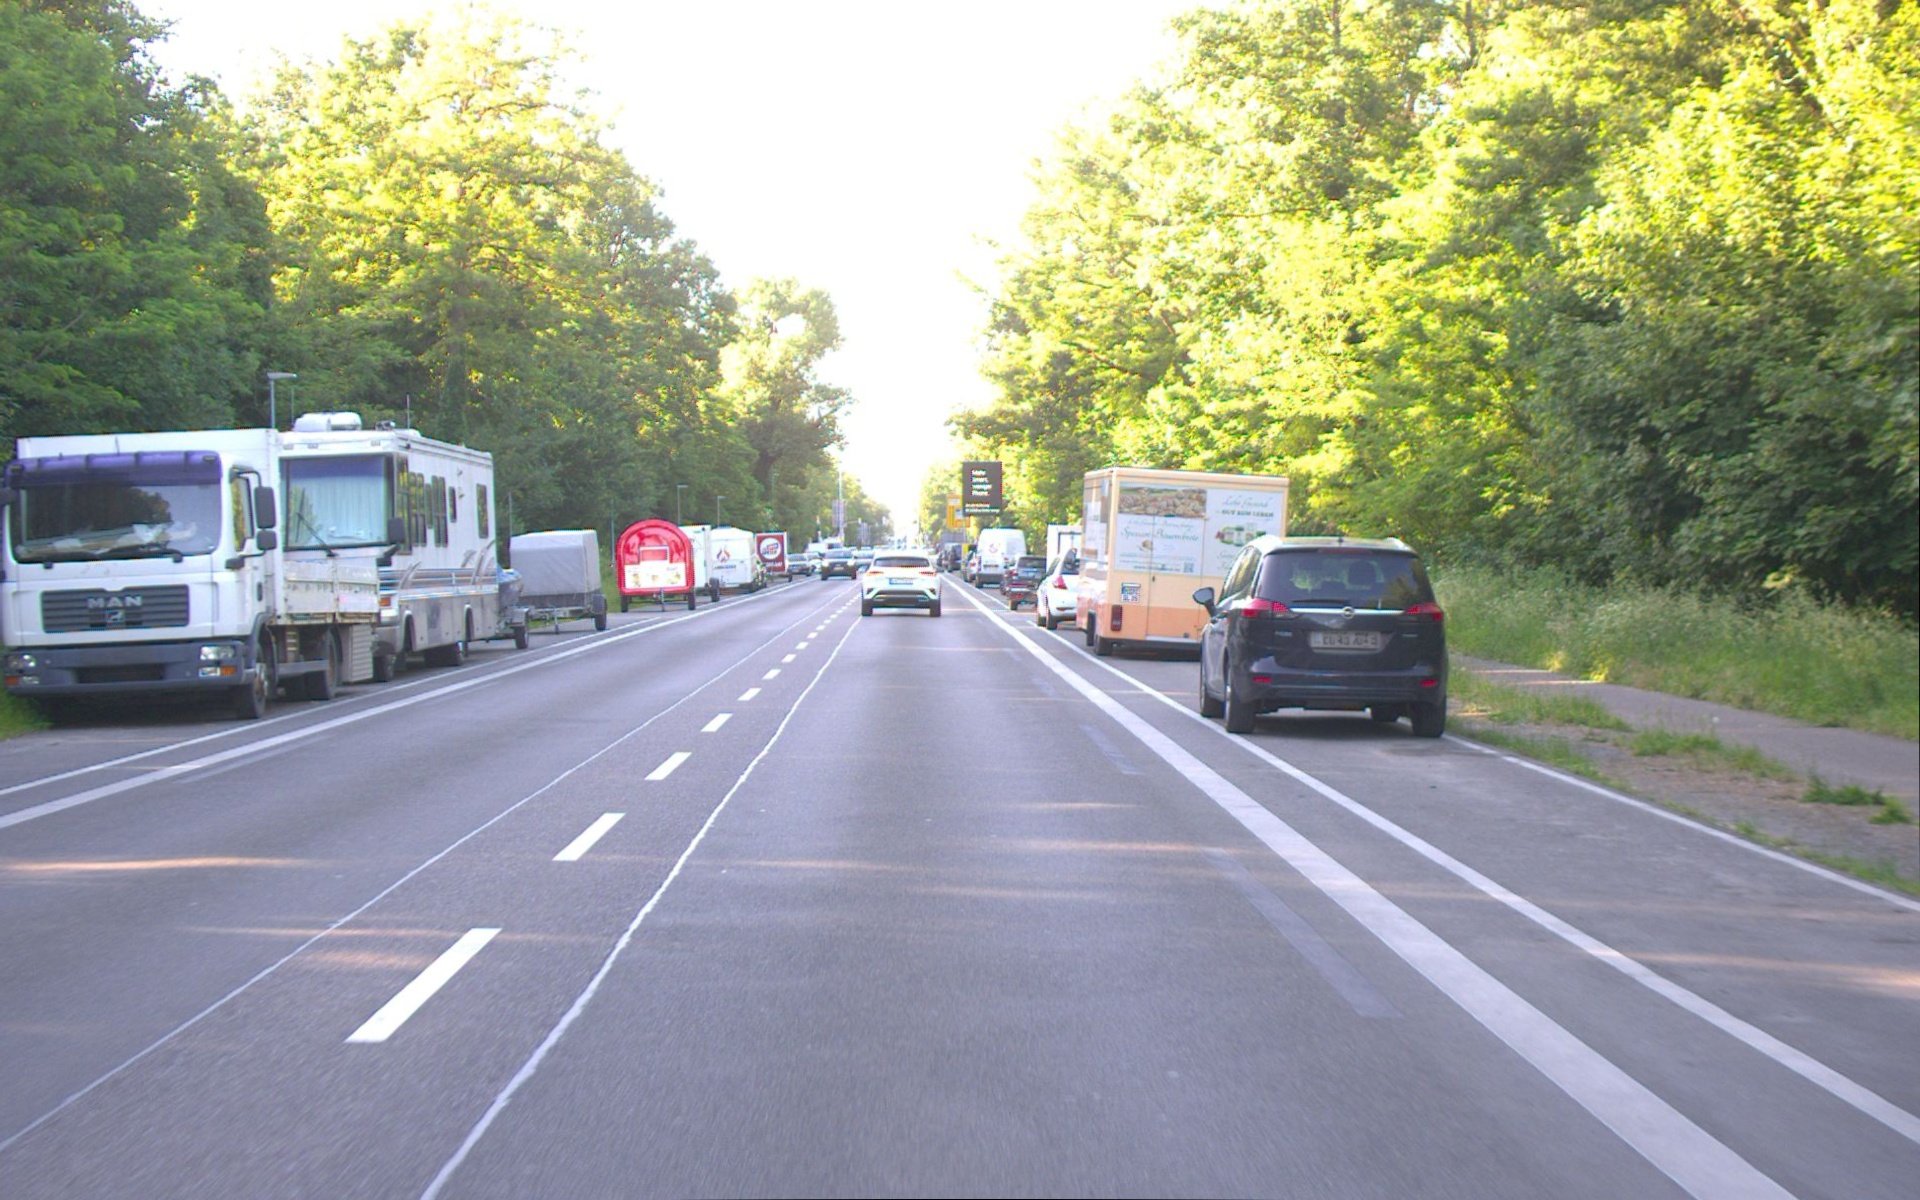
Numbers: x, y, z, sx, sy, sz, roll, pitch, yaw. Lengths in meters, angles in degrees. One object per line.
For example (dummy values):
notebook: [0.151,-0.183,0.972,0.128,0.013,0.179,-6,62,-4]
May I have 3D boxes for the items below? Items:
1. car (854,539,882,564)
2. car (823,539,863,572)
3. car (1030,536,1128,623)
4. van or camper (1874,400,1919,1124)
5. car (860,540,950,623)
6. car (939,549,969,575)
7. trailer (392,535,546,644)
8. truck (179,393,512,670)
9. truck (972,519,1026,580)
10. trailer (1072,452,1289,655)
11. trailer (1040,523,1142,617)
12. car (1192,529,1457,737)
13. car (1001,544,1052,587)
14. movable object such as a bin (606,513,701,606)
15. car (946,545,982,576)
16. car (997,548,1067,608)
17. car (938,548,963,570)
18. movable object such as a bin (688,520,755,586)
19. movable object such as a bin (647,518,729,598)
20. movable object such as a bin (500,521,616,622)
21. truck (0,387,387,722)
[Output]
car: [-6.290,-3.301,235.343,1.779,1.659,4.430,-1,1,-1]
car: [-6.166,-2.361,181.371,1.993,1.672,4.000,-1,1,-1]
car: [2.306,-0.425,67.621,1.732,1.678,4.000,0,1,-1]
van or camper: [3.585,0.484,6.956,1.993,1.925,5.199,1,1,-1]
car: [-1.251,-0.447,79.435,2.028,1.834,4.029,0,1,0]
car: [-0.337,-2.152,195.533,1.656,1.473,3.754,0,1,-1]
trailer: [-8.114,-0.198,57.117,1.993,1.744,4.328,0,1,-1]
truck: [-8.150,-0.918,47.084,2.707,3.336,10.924,0,1,-1]
truck: [1.590,-2.096,142.445,2.096,2.444,5.680,0,1,-1]
trailer: [3.202,-0.707,51.616,2.757,2.860,6.589,0,1,-1]
trailer: [2.803,-0.665,74.303,1.993,1.963,4.000,0,1,-1]
car: [3.076,0.236,29.736,1.841,1.656,4.000,1,1,0]
car: [2.274,-1.211,118.704,1.656,1.473,3.754,0,1,-1]
movable object such as a bin: [-8.415,-1.130,94.763,2.322,2.493,4.000,0,1,-1]
car: [0.175,-1.874,163.030,1.656,1.473,3.754,0,1,-1]
car: [1.814,-0.574,87.524,1.656,1.473,3.754,0,1,-1]
car: [-0.671,-2.881,239.966,1.656,1.473,3.754,0,1,-1]
movable object such as a bin: [-9.111,-1.797,131.612,2.322,2.493,4.000,0,1,-1]
movable object such as a bin: [-8.615,-1.358,109.219,2.322,2.493,4.000,0,1,-1]
movable object such as a bin: [-8.214,-0.600,70.535,1.953,2.007,4.000,0,1,-1]
truck: [-7.942,-0.481,35.736,2.707,3.083,7.989,0,1,-1]
